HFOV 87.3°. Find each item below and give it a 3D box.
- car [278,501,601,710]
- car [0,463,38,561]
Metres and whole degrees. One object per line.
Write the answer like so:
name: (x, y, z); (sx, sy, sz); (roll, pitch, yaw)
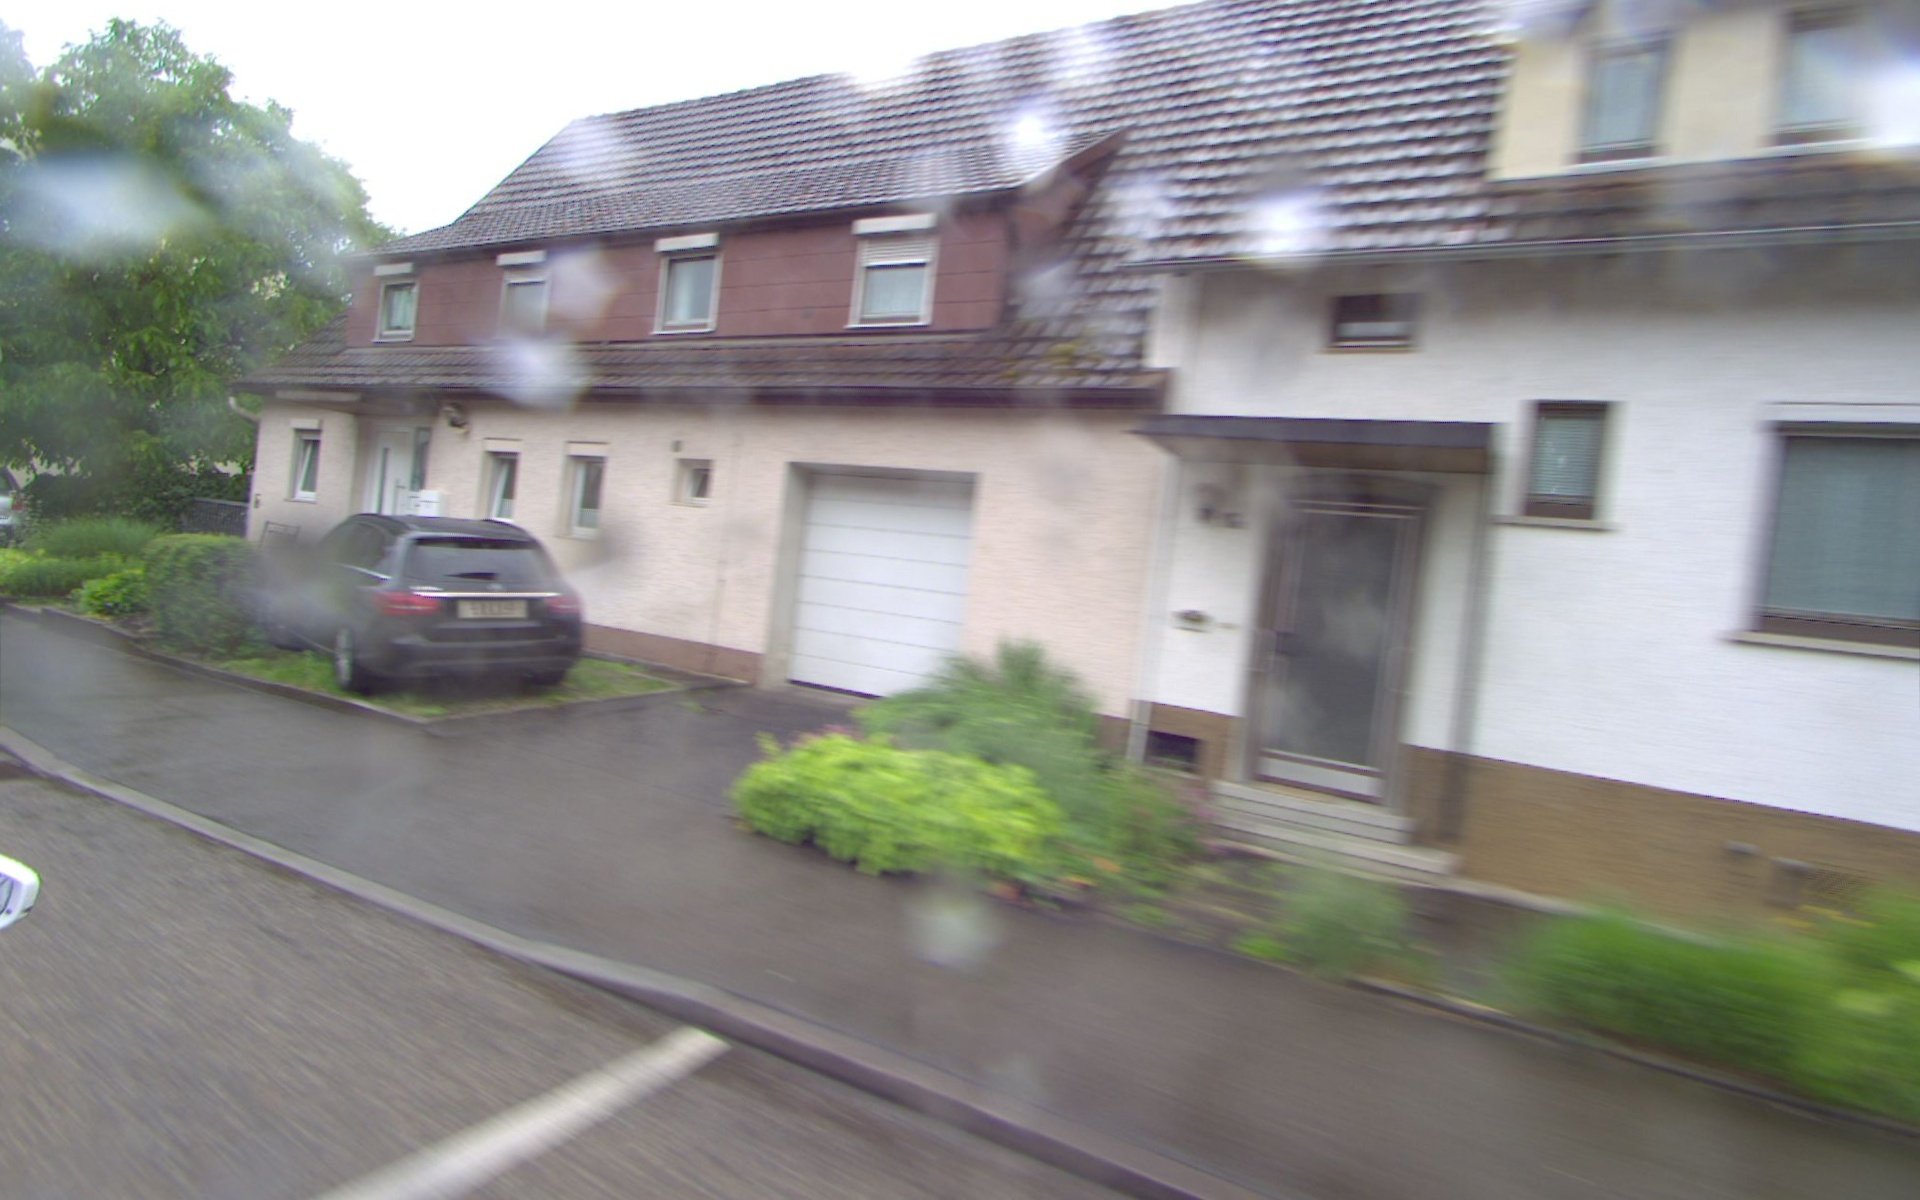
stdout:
car: (-4.945, -0.101, 9.276); (1.749, 1.414, 3.952); (-1, 6, -41)
car: (-16.355, -1.562, 15.867); (3.616, 1.447, 1.640); (7, 0, 31)
